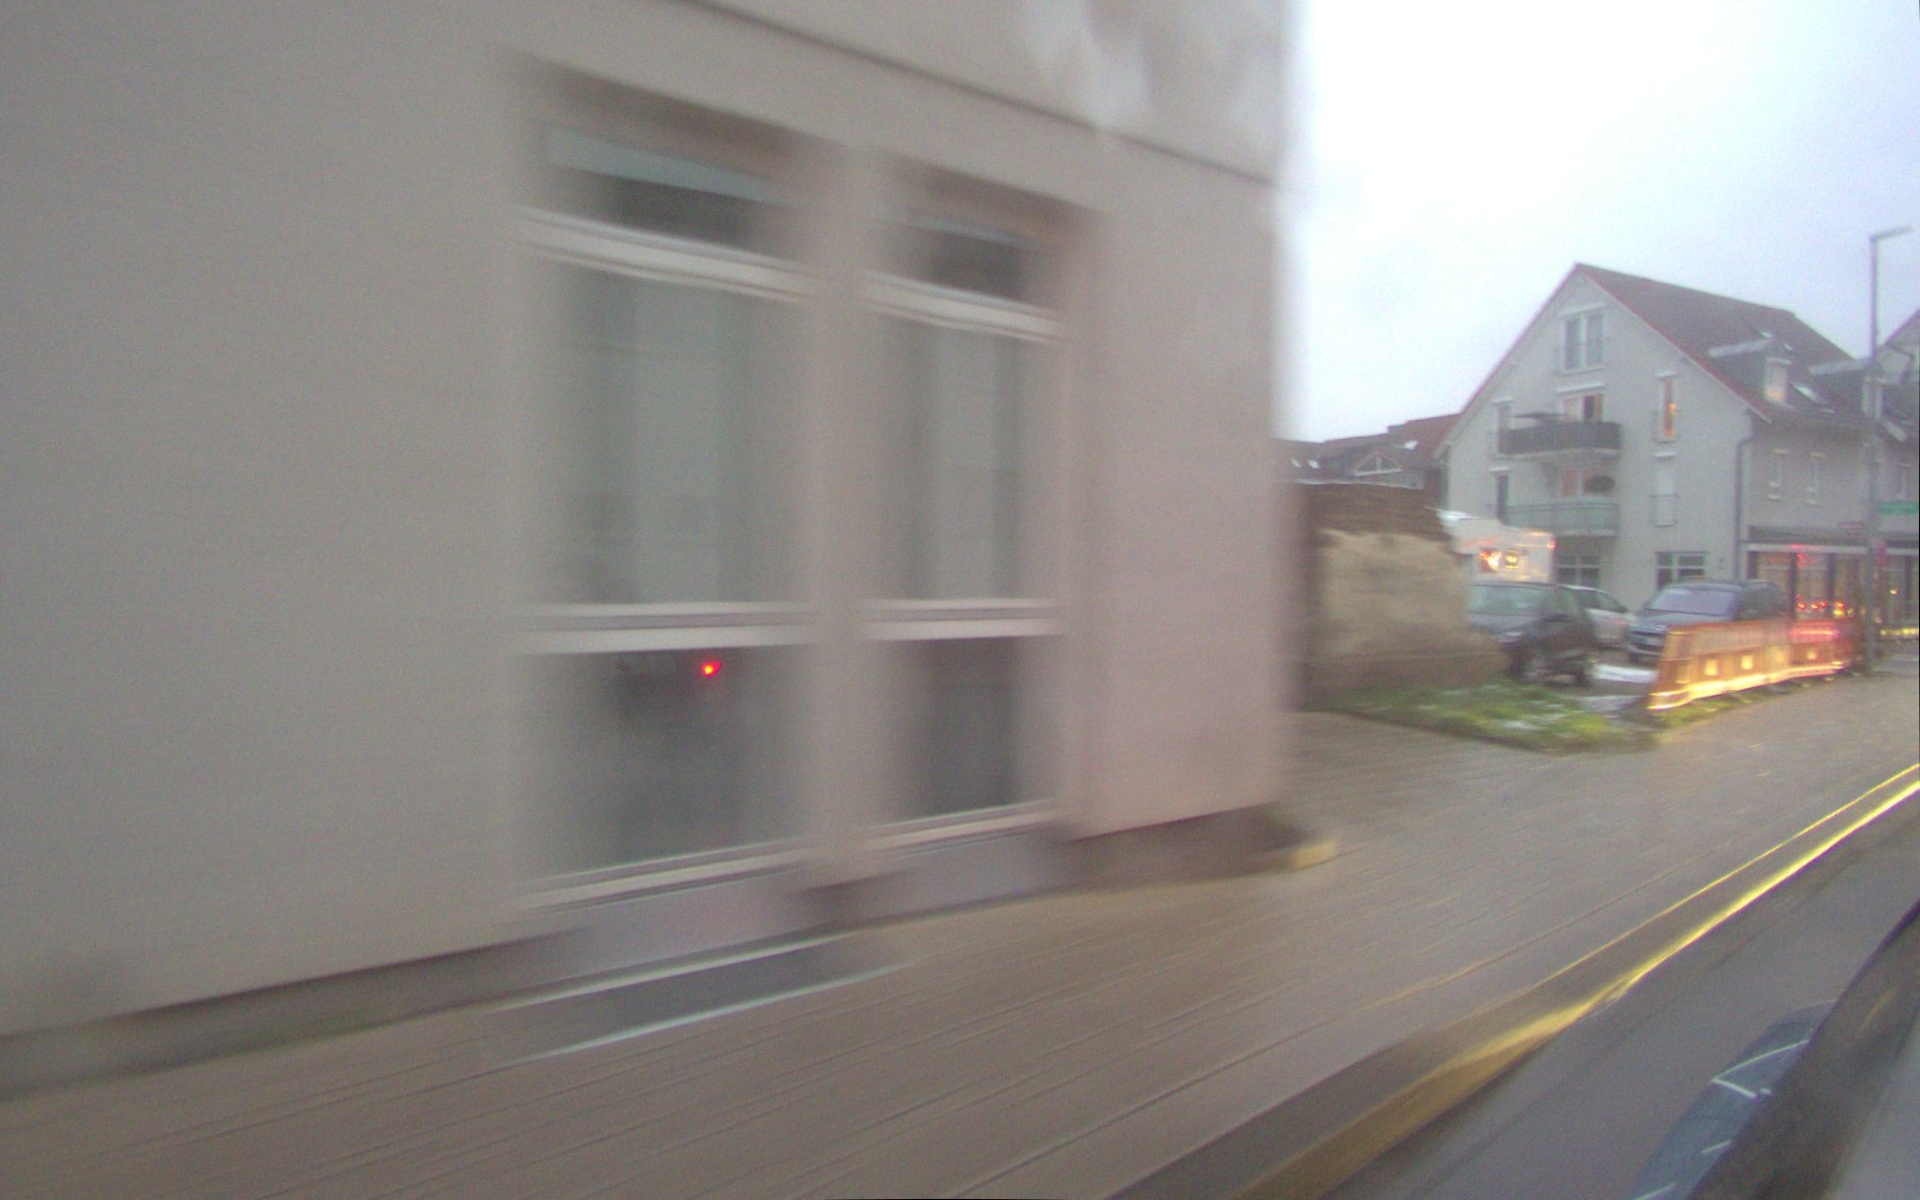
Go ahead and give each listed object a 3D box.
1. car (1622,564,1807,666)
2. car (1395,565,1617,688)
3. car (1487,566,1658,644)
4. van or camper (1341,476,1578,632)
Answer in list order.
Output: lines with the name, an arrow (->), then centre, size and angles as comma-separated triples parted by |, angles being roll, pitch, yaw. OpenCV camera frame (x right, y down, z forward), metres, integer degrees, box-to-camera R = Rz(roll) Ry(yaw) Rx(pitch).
car -> 15.402, 0.268, 20.601 | 4.163, 1.845, 1.787 | 1, 2, -35
car -> 7.851, 0.356, 14.418 | 1.782, 1.424, 3.694 | 6, 3, 44
car -> 14.214, 0.107, 23.439 | 4.163, 1.560, 1.788 | 1, 4, -35
van or camper -> 13.022, -1.129, 26.143 | 6.991, 3.551, 2.440 | 1, 4, -38
